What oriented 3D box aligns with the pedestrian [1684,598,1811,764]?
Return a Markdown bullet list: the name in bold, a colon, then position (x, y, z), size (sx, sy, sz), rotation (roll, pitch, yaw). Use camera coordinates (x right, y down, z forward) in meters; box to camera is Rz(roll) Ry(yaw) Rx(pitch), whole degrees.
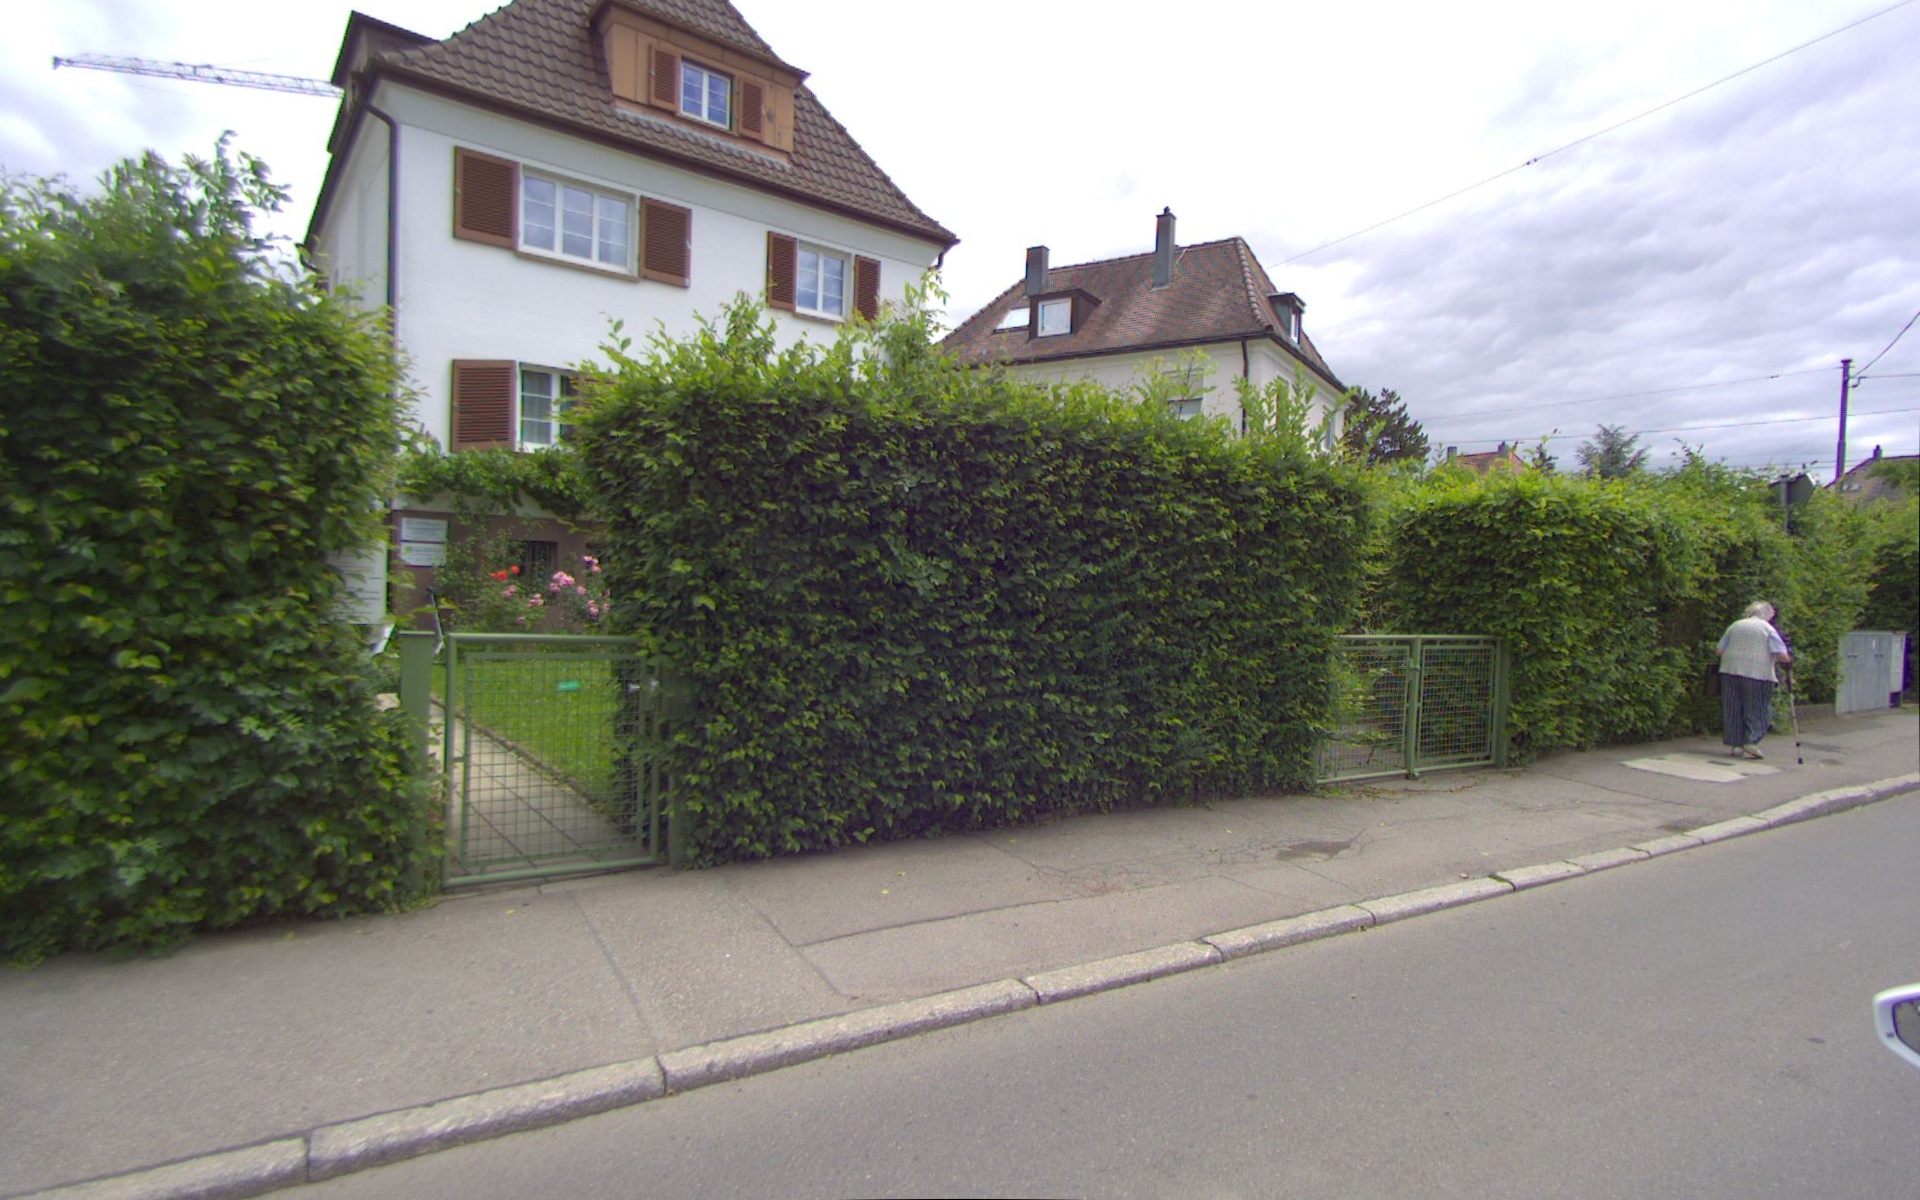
- **pedestrian**: position (7.691, 0.761, 9.833), size (0.865, 1.505, 0.453), rotation (5, 3, 39)
